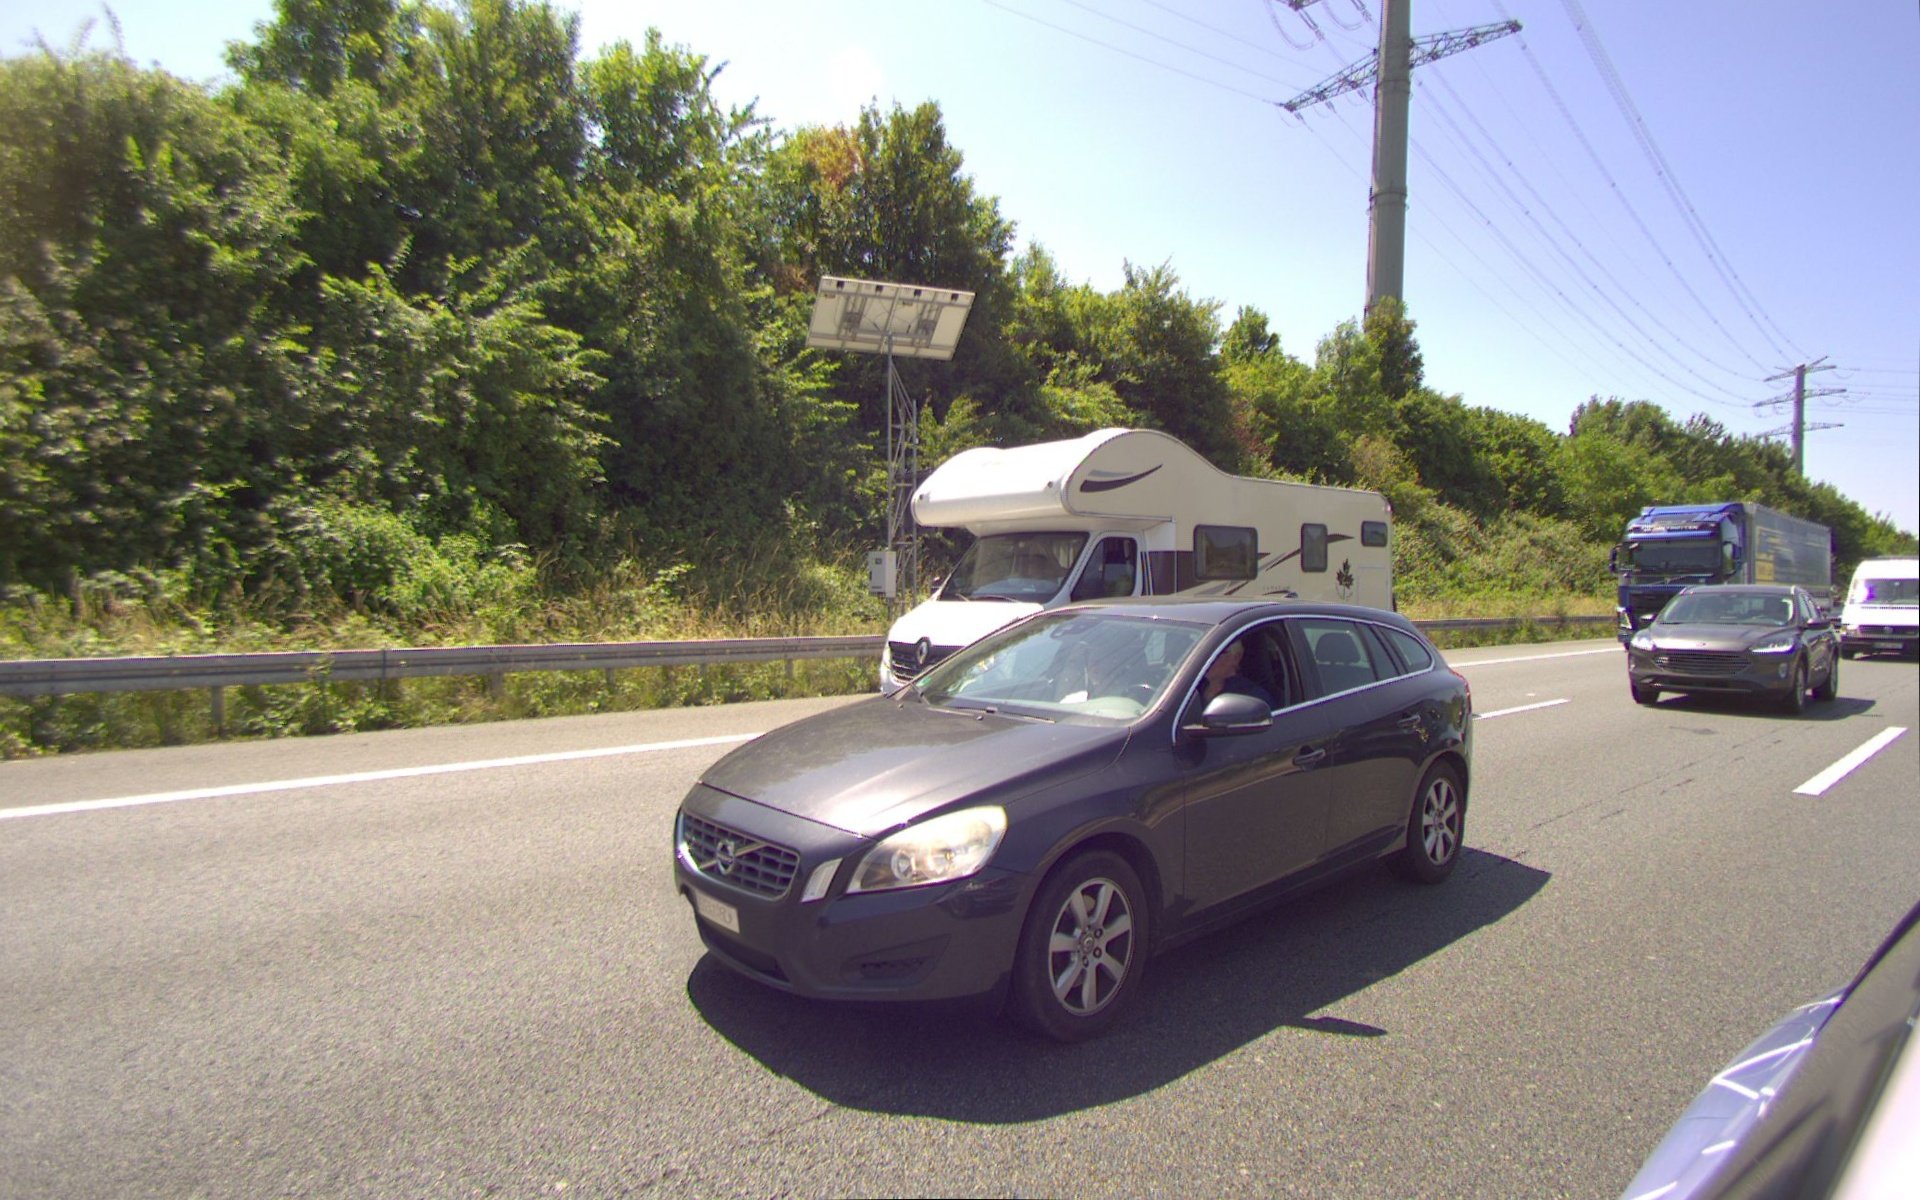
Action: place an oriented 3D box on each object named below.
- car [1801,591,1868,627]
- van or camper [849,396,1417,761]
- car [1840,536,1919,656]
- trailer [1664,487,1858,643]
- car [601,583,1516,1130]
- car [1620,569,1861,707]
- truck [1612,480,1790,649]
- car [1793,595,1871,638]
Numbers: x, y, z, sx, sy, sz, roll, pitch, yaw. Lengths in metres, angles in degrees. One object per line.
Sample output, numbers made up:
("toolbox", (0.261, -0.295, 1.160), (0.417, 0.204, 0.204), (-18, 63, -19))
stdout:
("car", (39.169, 0.388, 45.290), (3.806, 1.538, 1.719), (-1, 0, -41))
("van or camper", (2.464, -0.223, 11.907), (7.499, 3.082, 2.373), (-1, 0, -41))
("car", (24.335, -0.132, 25.755), (6.589, 2.753, 2.040), (-1, 0, -41))
("trailer", (26.702, -1.043, 33.345), (12.655, 4.317, 2.771), (-1, 0, -41))
("car", (0.821, 0.651, 4.811), (4.431, 1.437, 1.798), (-1, 0, -41))
("car", (10.943, 0.432, 14.093), (4.147, 1.631, 1.892), (-1, 0, -41))
("truck", (20.522, -0.908, 27.927), (5.538, 4.197, 2.790), (-1, 0, -41))
("car", (33.520, 0.582, 38.879), (3.806, 1.538, 1.719), (-1, 0, -41))
